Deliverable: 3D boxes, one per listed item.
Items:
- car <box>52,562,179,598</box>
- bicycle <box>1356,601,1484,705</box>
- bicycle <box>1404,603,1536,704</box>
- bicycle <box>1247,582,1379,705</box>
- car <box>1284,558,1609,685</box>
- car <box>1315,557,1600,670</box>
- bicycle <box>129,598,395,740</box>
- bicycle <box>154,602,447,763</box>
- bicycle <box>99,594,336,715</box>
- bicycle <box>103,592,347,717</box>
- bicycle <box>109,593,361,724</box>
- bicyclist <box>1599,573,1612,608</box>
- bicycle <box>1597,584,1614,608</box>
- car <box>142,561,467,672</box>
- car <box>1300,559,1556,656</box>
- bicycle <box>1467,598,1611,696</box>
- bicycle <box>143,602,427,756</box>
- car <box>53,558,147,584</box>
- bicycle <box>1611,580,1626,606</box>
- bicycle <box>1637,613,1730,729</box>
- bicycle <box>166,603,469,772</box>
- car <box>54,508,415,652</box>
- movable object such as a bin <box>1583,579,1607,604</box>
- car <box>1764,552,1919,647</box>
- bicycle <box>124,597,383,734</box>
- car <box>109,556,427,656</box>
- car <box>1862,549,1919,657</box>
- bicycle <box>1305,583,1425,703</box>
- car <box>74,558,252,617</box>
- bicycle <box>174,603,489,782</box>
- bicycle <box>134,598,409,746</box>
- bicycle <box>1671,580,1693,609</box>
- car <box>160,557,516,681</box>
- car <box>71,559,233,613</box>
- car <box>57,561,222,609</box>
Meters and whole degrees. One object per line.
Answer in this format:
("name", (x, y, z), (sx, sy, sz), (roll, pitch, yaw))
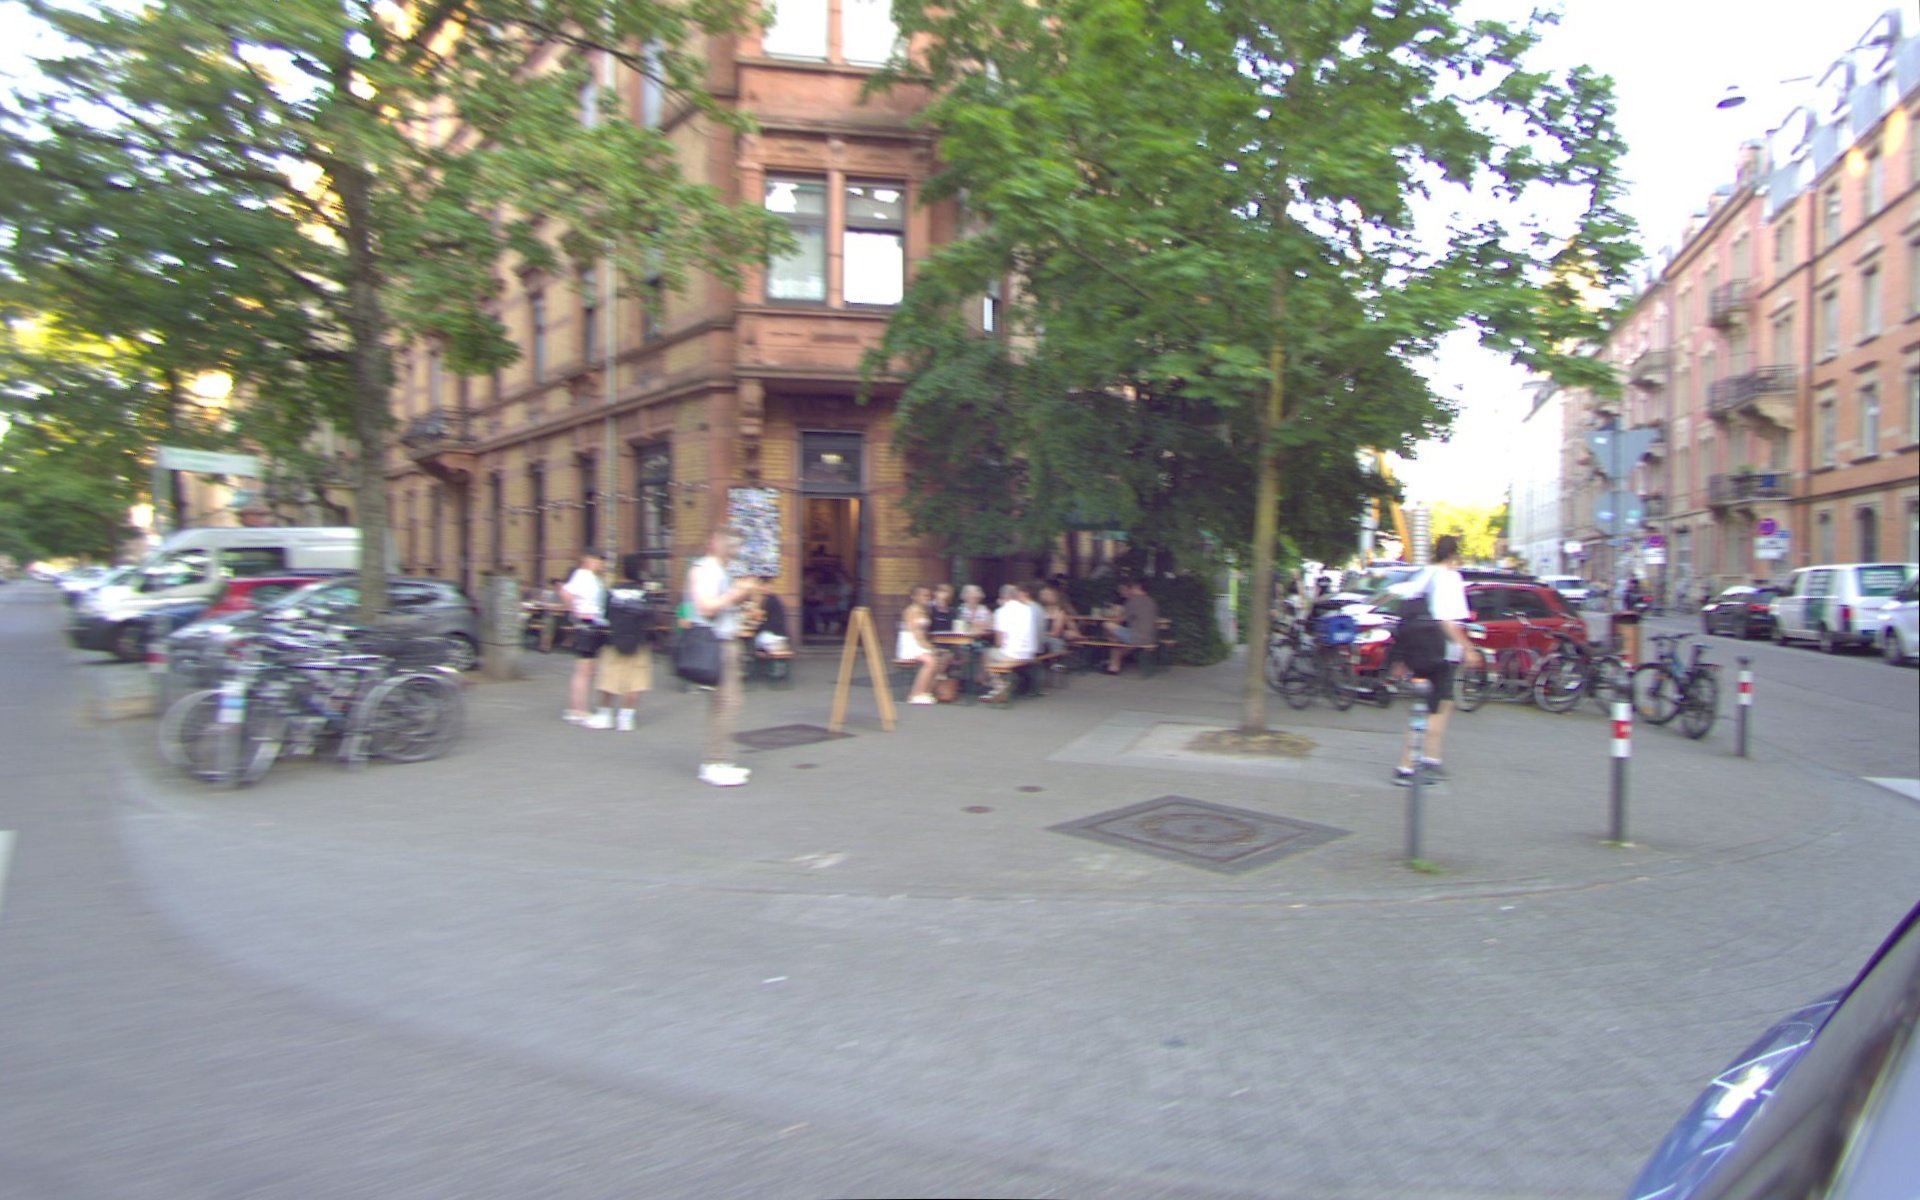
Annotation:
("car", (-45.331, -1.090, 54.425), (5.113, 1.807, 1.995), (-3, 2, -43))
("bicycle", (5.519, 0.601, 12.269), (0.587, 1.076, 1.771), (2, 2, -4))
("bicycle", (6.144, 0.604, 12.300), (0.587, 1.076, 1.771), (-1, 1, -4))
("bicycle", (4.037, 0.447, 11.716), (0.586, 1.304, 1.726), (0, 1, -14))
("car", (7.017, 0.299, 14.782), (3.966, 1.648, 1.696), (2, 0, -9))
("car", (8.637, 0.215, 17.686), (4.135, 1.709, 1.938), (2, 1, -15))
("bicycle", (-6.505, 0.588, 9.543), (0.434, 1.148, 2.003), (0, 2, 44))
("bicycle", (-5.480, 0.626, 8.536), (0.434, 1.148, 2.003), (0, 2, 44))
("bicycle", (-7.956, 0.537, 10.939), (0.434, 1.148, 2.003), (0, 2, 44))
("bicycle", (-7.625, 0.515, 10.597), (0.434, 1.148, 2.003), (0, 2, 44))
("bicycle", (-7.267, 0.537, 10.241), (0.434, 1.148, 2.003), (0, 2, 44))
("bicyclist", (30.724, -0.455, 48.172), (0.462, 1.610, 0.483), (-1, 1, 26))
("bicycle", (30.646, -0.210, 48.053), (0.462, 1.081, 1.507), (-1, 1, 25))
("car", (-10.623, 0.172, 16.566), (4.219, 1.545, 1.907), (-3, 2, -41))
("car", (9.154, 0.127, 19.973), (4.137, 1.642, 1.937), (3, 1, -10))
("bicycle", (7.366, 0.581, 12.904), (1.527, 1.175, 0.364), (1, 1, 9))
("bicycle", (-5.835, 0.625, 8.872), (0.434, 1.148, 2.003), (0, 2, 44))
("car", (-62.972, -2.161, 74.179), (5.113, 1.807, 1.995), (-3, 2, -43))
("bicycle", (31.687, -0.337, 48.697), (0.463, 1.169, 1.980), (-1, 1, 29))
("bicycle", (7.691, 0.717, 10.816), (0.360, 1.076, 1.543), (-1, 1, 19))
("bicycle", (-5.113, 0.635, 8.190), (0.434, 1.148, 2.003), (0, 2, 44))
("car", (-14.056, -0.435, 19.901), (2.239, 2.451, 5.454), (0, 2, 45))
("movable object such as a bin", (32.416, -0.444, 51.675), (0.880, 1.266, 0.770), (-1, 1, 23))
("car", (20.289, -0.078, 23.064), (1.822, 1.945, 4.808), (0, 1, 23))
("bicycle", (-6.833, 0.583, 9.895), (0.434, 1.148, 2.003), (0, 2, 44))
("car", (-12.248, 0.027, 18.073), (4.467, 1.545, 1.997), (-3, 2, -41))
("car", (18.107, 0.077, 17.477), (2.091, 1.945, 4.992), (0, 1, 21))
("bicycle", (4.781, 0.459, 12.076), (0.587, 1.304, 1.771), (-1, 1, -4))
("car", (-26.389, -0.466, 33.593), (4.470, 1.807, 1.995), (-3, 2, -43))
("bicycle", (-4.759, 0.637, 7.812), (0.434, 1.148, 2.003), (0, 2, 44))
("bicycle", (-6.174, 0.591, 9.193), (0.434, 1.148, 2.003), (0, 2, 44))
("bicycle", (31.279, -0.244, 43.863), (0.408, 1.174, 1.824), (-1, 1, 23))
("car", (-9.109, 0.180, 15.015), (4.219, 1.545, 1.907), (-3, 2, -41))
("car", (-29.452, -0.536, 36.978), (4.470, 1.807, 1.995), (-3, 2, -43))
("car", (-33.555, -0.659, 41.473), (5.113, 1.807, 1.995), (-3, 2, -43))
